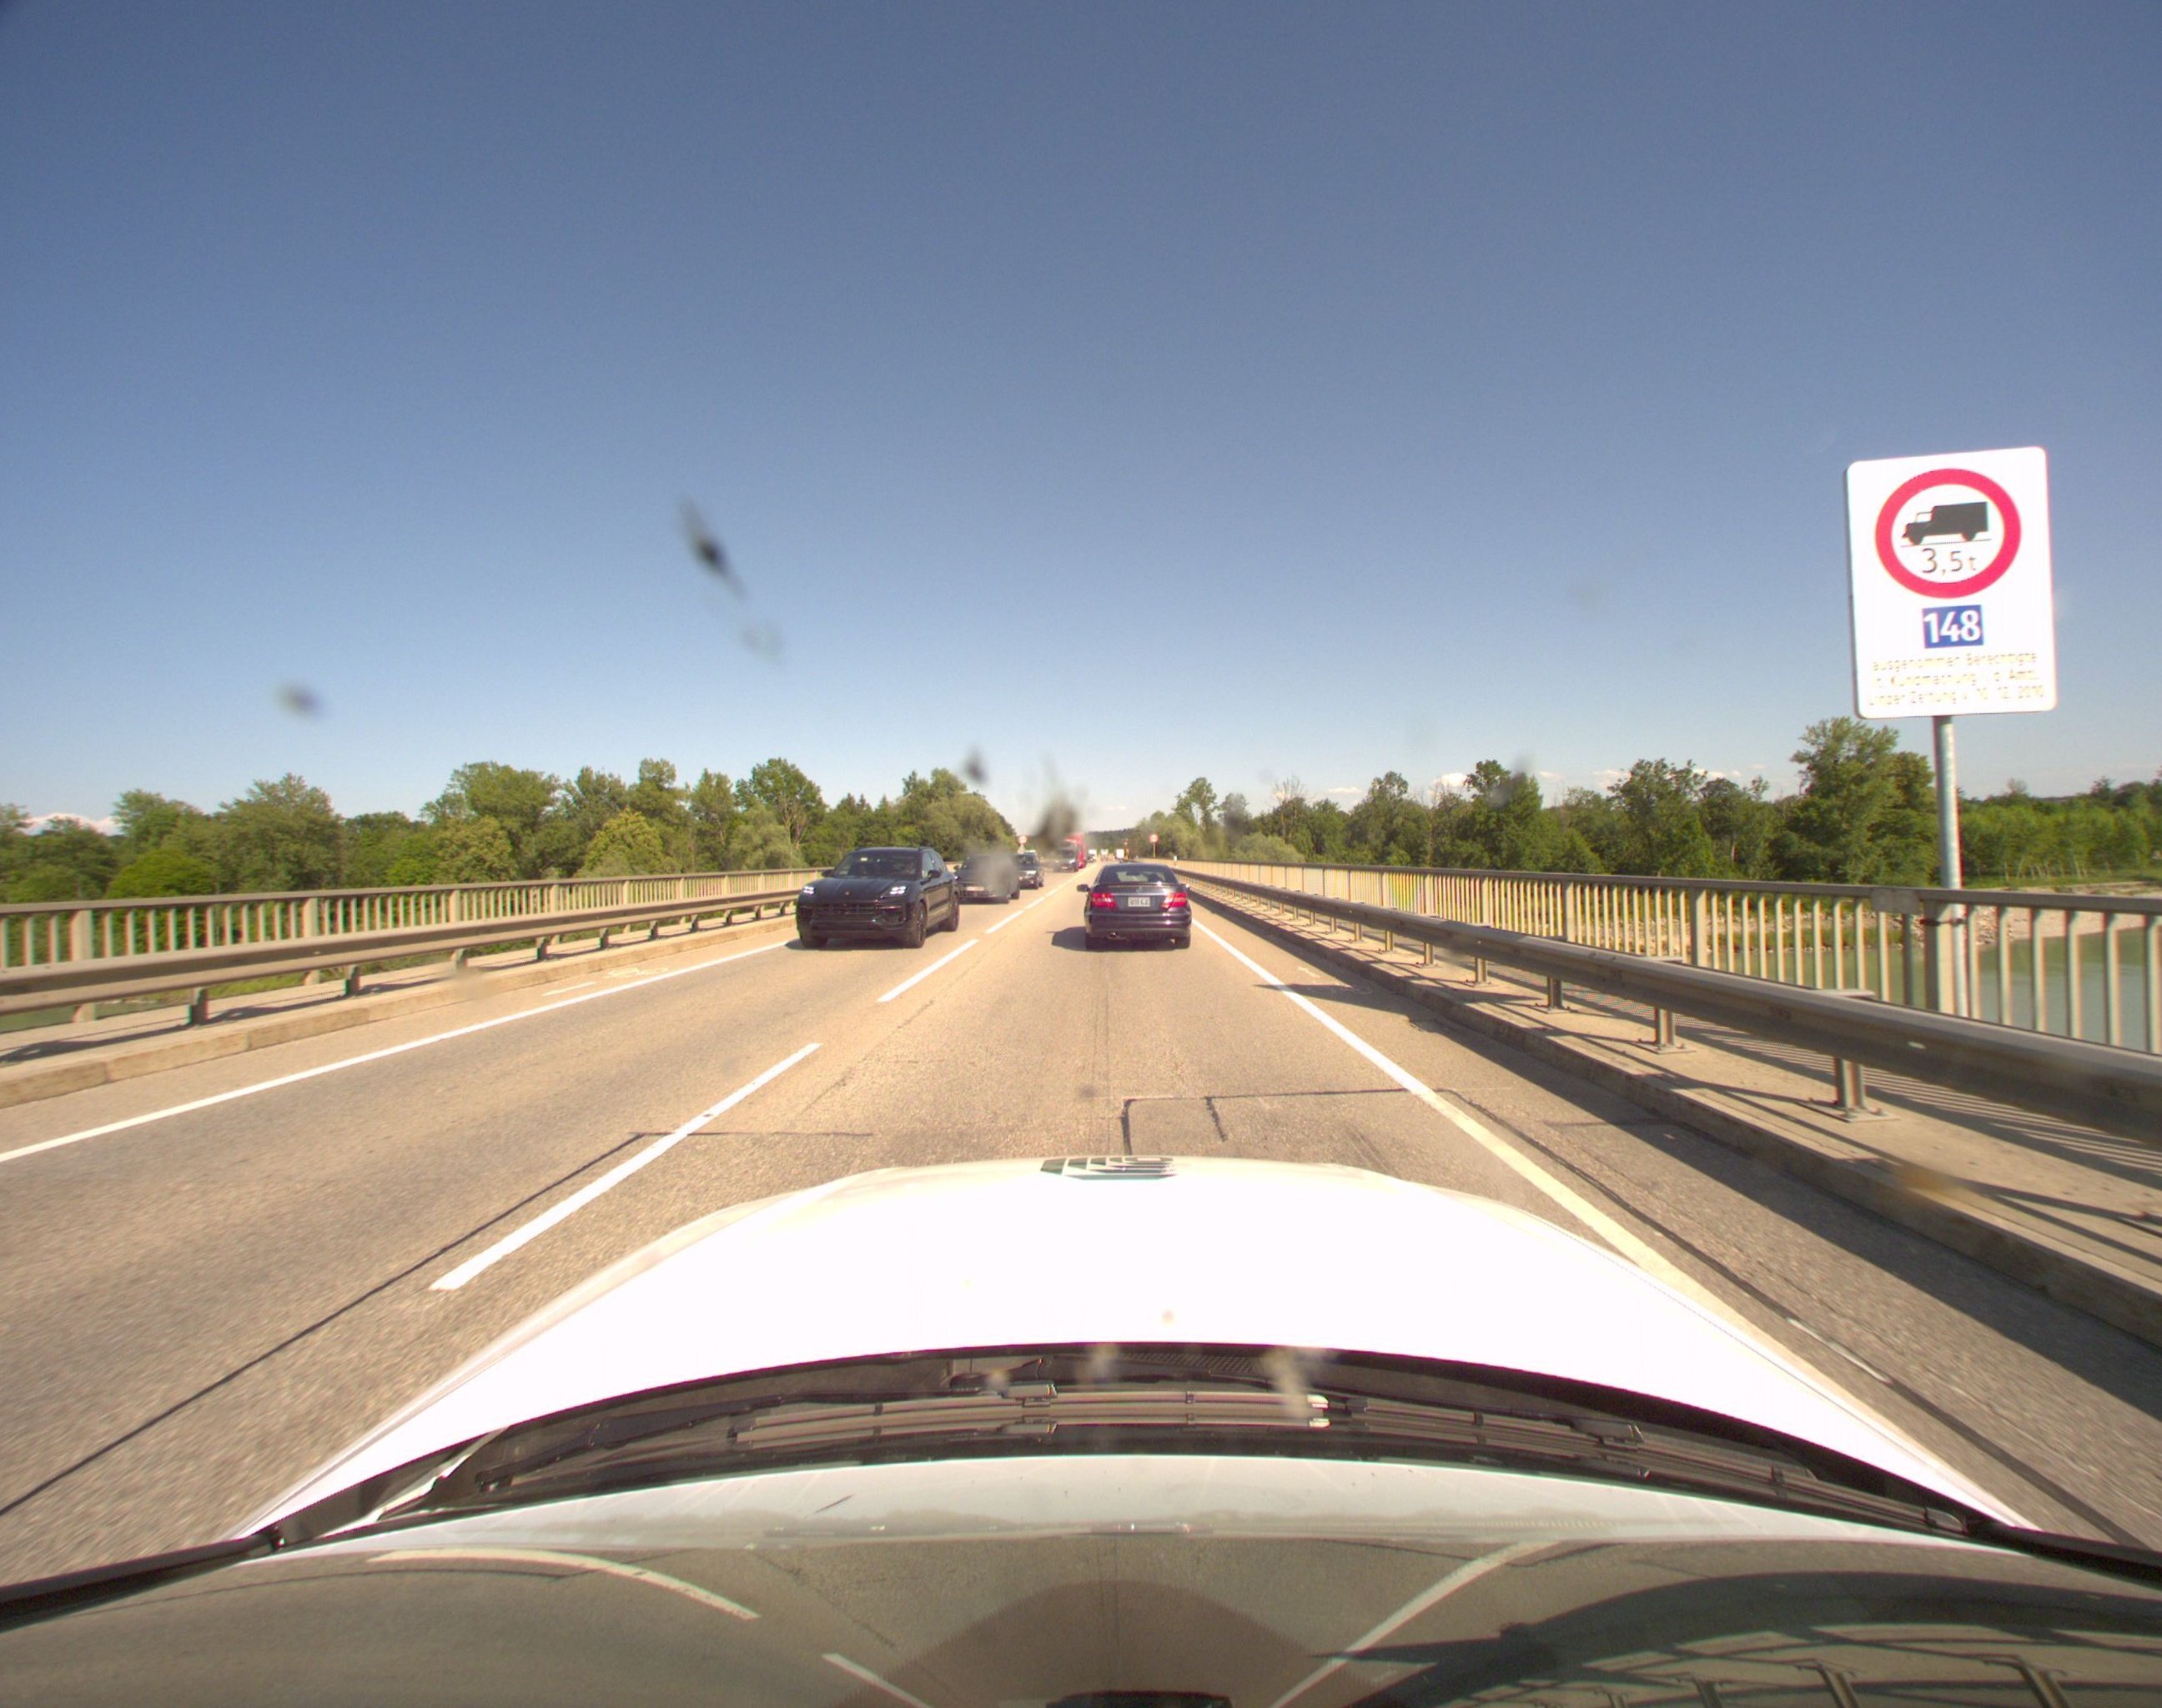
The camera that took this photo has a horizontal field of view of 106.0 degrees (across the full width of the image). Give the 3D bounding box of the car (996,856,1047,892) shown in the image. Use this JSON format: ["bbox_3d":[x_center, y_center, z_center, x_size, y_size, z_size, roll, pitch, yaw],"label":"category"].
[{"bbox_3d":[-2.709,0.887,37.965,1.867,1.583,4.276,0,0,2],"label":"car"}]

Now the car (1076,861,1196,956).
[{"bbox_3d":[0.927,0.841,14.223,1.786,1.376,4.003,0,0,3],"label":"car"}]

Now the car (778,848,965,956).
[{"bbox_3d":[-3.541,0.736,14.820,2.046,1.653,4.723,0,0,2],"label":"car"}]

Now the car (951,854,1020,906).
[{"bbox_3d":[-3.081,0.807,26.960,1.801,1.577,4.200,0,0,0],"label":"car"}]

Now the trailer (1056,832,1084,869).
[{"bbox_3d":[-1.473,-0.432,101.513,2.901,4.302,14.286,0,0,-3],"label":"trailer"}]

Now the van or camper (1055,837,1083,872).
[{"bbox_3d":[-1.032,0.035,74.079,2.307,3.051,6.818,-1,0,1],"label":"van or camper"}]

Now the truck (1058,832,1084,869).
[{"bbox_3d":[-1.169,-0.388,94.084,2.900,4.184,5.709,0,0,-2],"label":"truck"}]
